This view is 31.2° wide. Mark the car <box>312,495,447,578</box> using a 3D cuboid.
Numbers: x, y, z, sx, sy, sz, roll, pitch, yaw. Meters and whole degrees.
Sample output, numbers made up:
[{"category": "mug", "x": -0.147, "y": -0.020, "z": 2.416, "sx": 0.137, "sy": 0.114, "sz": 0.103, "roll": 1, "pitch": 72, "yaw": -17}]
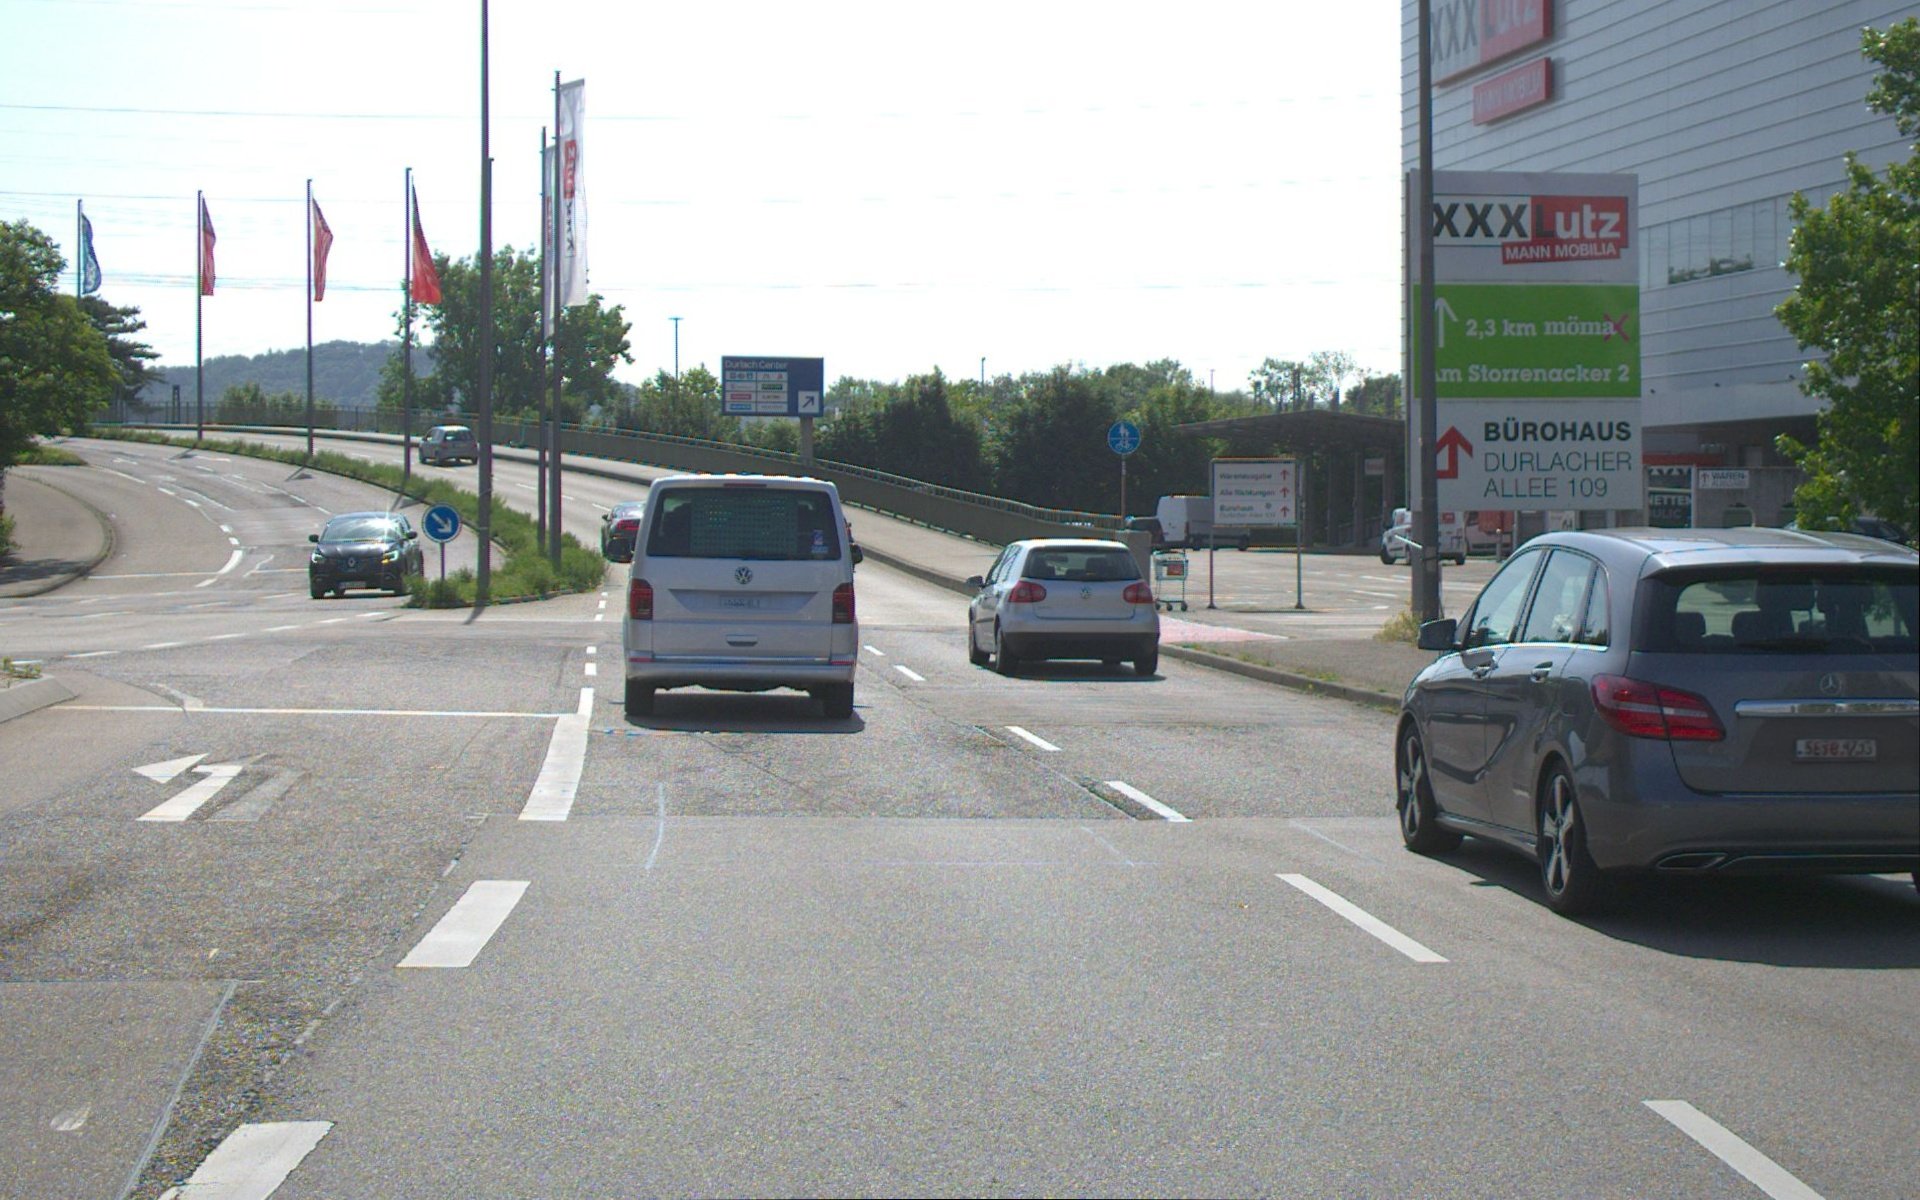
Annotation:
[{"category": "car", "x": -11.552, "y": -1.293, "z": 68.635, "sx": 1.915, "sy": 1.601, "sz": 4.272, "roll": 0, "pitch": 2, "yaw": 1}]

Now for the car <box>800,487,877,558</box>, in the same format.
[{"category": "car", "x": -2.897, "y": -1.843, "z": 81.381, "sx": 1.530, "sy": 1.474, "sz": 3.597, "roll": 1, "pitch": 4, "yaw": -6}]

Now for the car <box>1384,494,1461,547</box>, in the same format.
[{"category": "car", "x": 15.960, "y": -2.757, "z": 118.884, "sx": 1.672, "sy": 1.745, "sz": 4.095, "roll": 1, "pitch": 2, "yaw": -6}]

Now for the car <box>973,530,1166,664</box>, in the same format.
[{"category": "car", "x": 1.163, "y": -0.050, "z": 38.198, "sx": 1.666, "sy": 1.409, "sz": 3.683, "roll": 1, "pitch": 1, "yaw": -6}]

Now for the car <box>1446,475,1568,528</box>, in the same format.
[{"category": "car", "x": 20.622, "y": -3.721, "z": 129.753, "sx": 4.187, "sy": 1.922, "sz": 1.777, "roll": 1, "pitch": 2, "yaw": -7}]

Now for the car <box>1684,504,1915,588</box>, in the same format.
[{"category": "car", "x": 17.992, "y": -1.180, "z": 73.770, "sx": 4.421, "sy": 1.608, "sz": 1.838, "roll": -2, "pitch": 3, "yaw": -10}]

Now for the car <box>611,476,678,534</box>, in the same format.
[{"category": "car", "x": -8.302, "y": -2.503, "z": 90.261, "sx": 1.530, "sy": 1.474, "sz": 3.248, "roll": 1, "pitch": 2, "yaw": -9}]

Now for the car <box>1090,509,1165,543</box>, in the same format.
[{"category": "car", "x": 7.525, "y": -3.326, "z": 154.458, "sx": 1.993, "sy": 1.415, "sz": 4.001, "roll": 2, "pitch": 0, "yaw": -19}]

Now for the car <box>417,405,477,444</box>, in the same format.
[{"category": "car", "x": -20.926, "y": -7.126, "z": 140.139, "sx": 1.530, "sy": 1.475, "sz": 3.426, "roll": 1, "pitch": 1, "yaw": -24}]

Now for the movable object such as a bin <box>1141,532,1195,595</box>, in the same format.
[{"category": "movable object such as a bin", "x": 3.765, "y": -0.660, "z": 62.289, "sx": 0.809, "sy": 1.109, "sz": 1.182, "roll": 0, "pitch": 2, "yaw": -5}]

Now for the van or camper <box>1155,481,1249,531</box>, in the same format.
[{"category": "van or camper", "x": 11.888, "y": -4.599, "z": 168.568, "sx": 2.102, "sy": 2.171, "sz": 5.427, "roll": 3, "pitch": 0, "yaw": 34}]

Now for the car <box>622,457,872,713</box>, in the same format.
[{"category": "car", "x": -1.806, "y": -0.179, "z": 28.774, "sx": 1.916, "sy": 1.968, "sz": 4.298, "roll": 0, "pitch": 2, "yaw": -4}]

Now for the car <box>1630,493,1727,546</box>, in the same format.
[{"category": "car", "x": 21.818, "y": -2.461, "z": 104.554, "sx": 1.672, "sy": 1.504, "sz": 4.095, "roll": 1, "pitch": 2, "yaw": -6}]

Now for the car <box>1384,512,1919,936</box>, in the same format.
[{"category": "car", "x": 3.112, "y": 0.414, "z": 14.828, "sx": 1.773, "sy": 1.533, "sz": 4.138, "roll": 1, "pitch": 2, "yaw": -4}]
